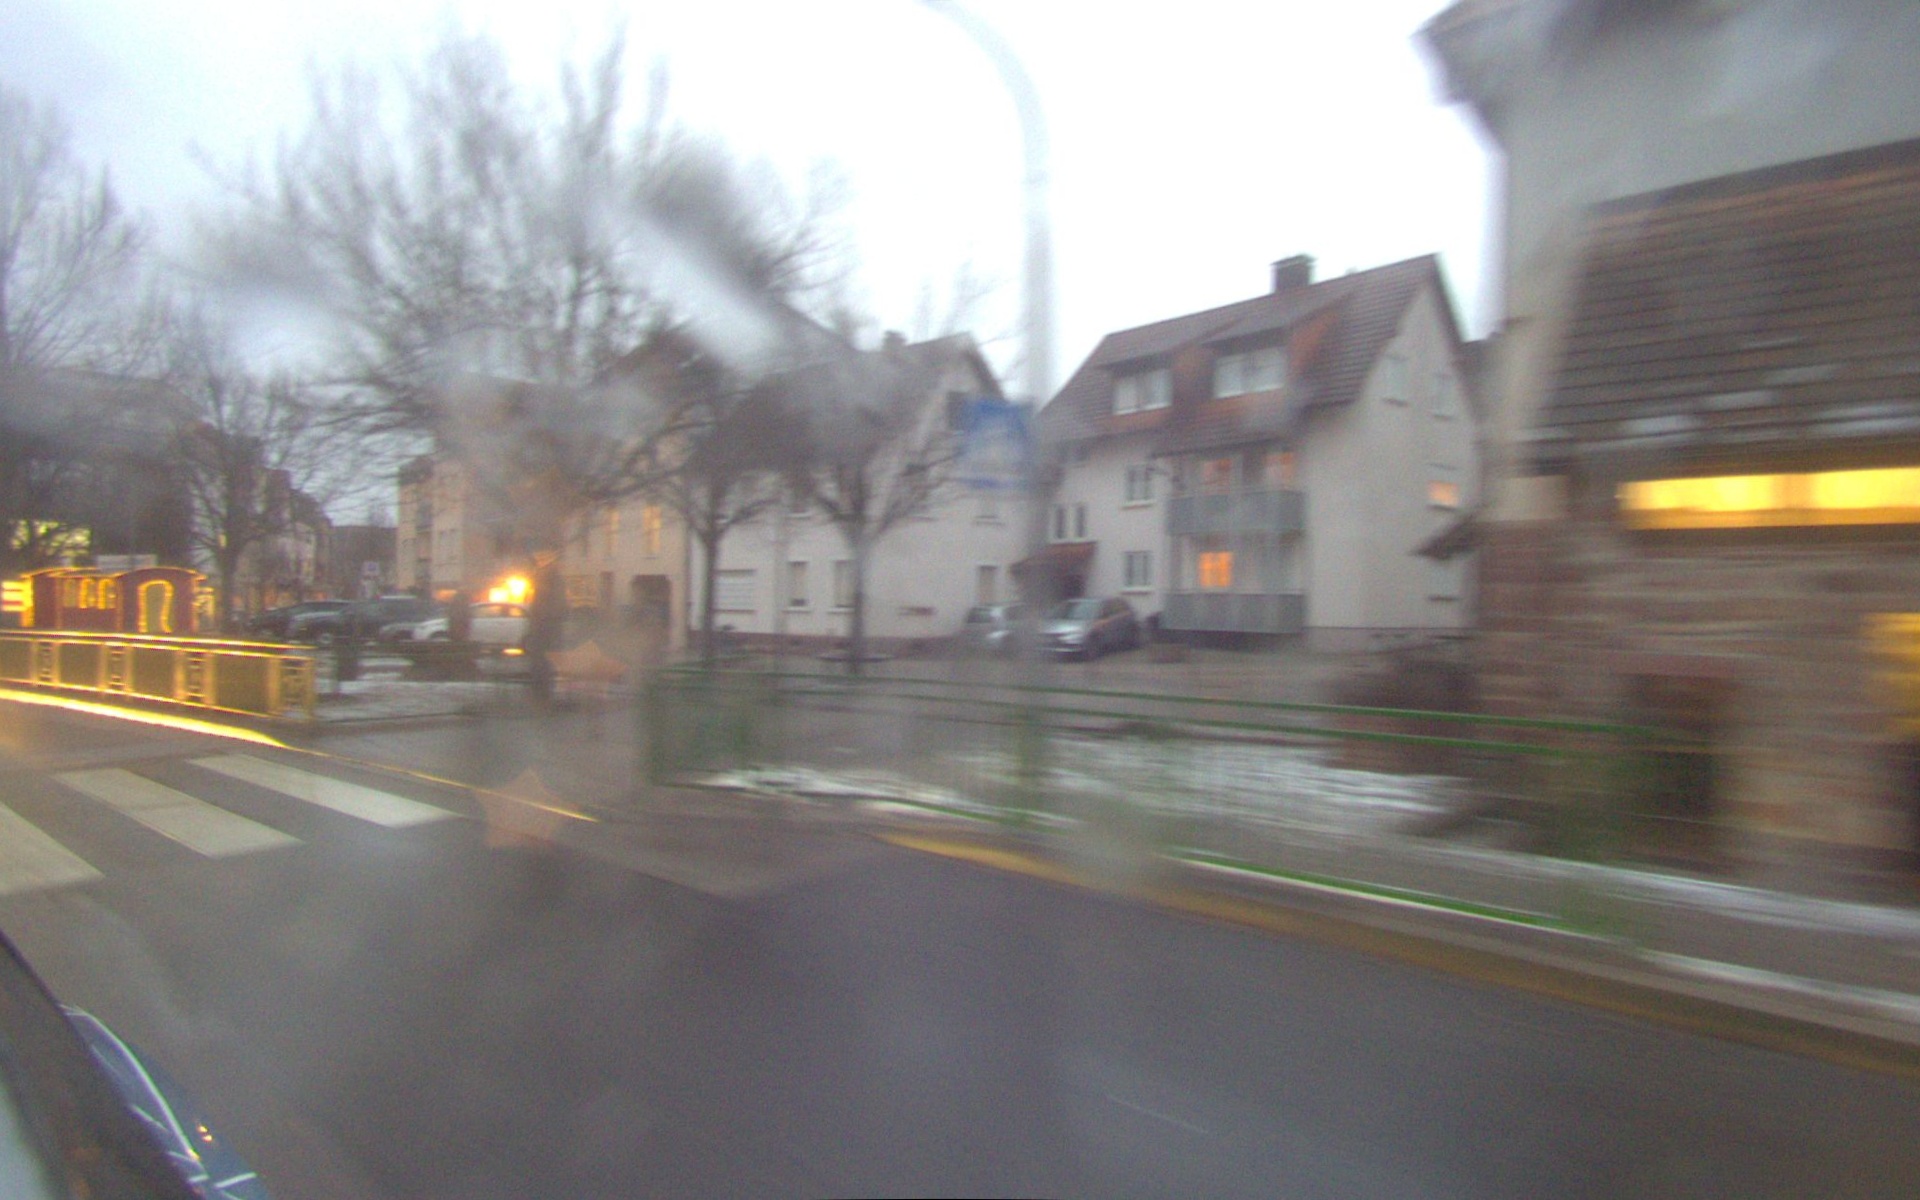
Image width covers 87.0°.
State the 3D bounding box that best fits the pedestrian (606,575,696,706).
[{"bbox_3d":[-4.344,0.547,14.225,0.869,1.748,0.957,-1,-1,-42],"label":"pedestrian"}]

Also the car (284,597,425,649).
[{"bbox_3d":[-20.107,0.735,33.705,3.932,1.644,1.639,0,-1,-32],"label":"car"}]

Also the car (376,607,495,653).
[{"bbox_3d":[-15.498,0.860,30.039,3.002,1.229,1.616,-1,0,-23],"label":"car"}]

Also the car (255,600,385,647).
[{"bbox_3d":[-23.534,0.847,37.391,3.931,1.644,1.640,0,-1,-27],"label":"car"}]

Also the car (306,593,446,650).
[{"bbox_3d":[-18.015,0.638,31.401,3.572,1.624,1.616,-1,0,-23],"label":"car"}]

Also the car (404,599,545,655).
[{"bbox_3d":[-13.481,0.719,28.322,3.425,1.420,1.616,-1,0,-21],"label":"car"}]

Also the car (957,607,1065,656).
[{"bbox_3d":[1.560,0.918,30.357,3.010,1.134,1.530,-7,4,-44],"label":"car"}]

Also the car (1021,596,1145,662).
[{"bbox_3d":[3.512,0.769,28.596,1.713,1.624,3.560,-1,2,42],"label":"car"}]
